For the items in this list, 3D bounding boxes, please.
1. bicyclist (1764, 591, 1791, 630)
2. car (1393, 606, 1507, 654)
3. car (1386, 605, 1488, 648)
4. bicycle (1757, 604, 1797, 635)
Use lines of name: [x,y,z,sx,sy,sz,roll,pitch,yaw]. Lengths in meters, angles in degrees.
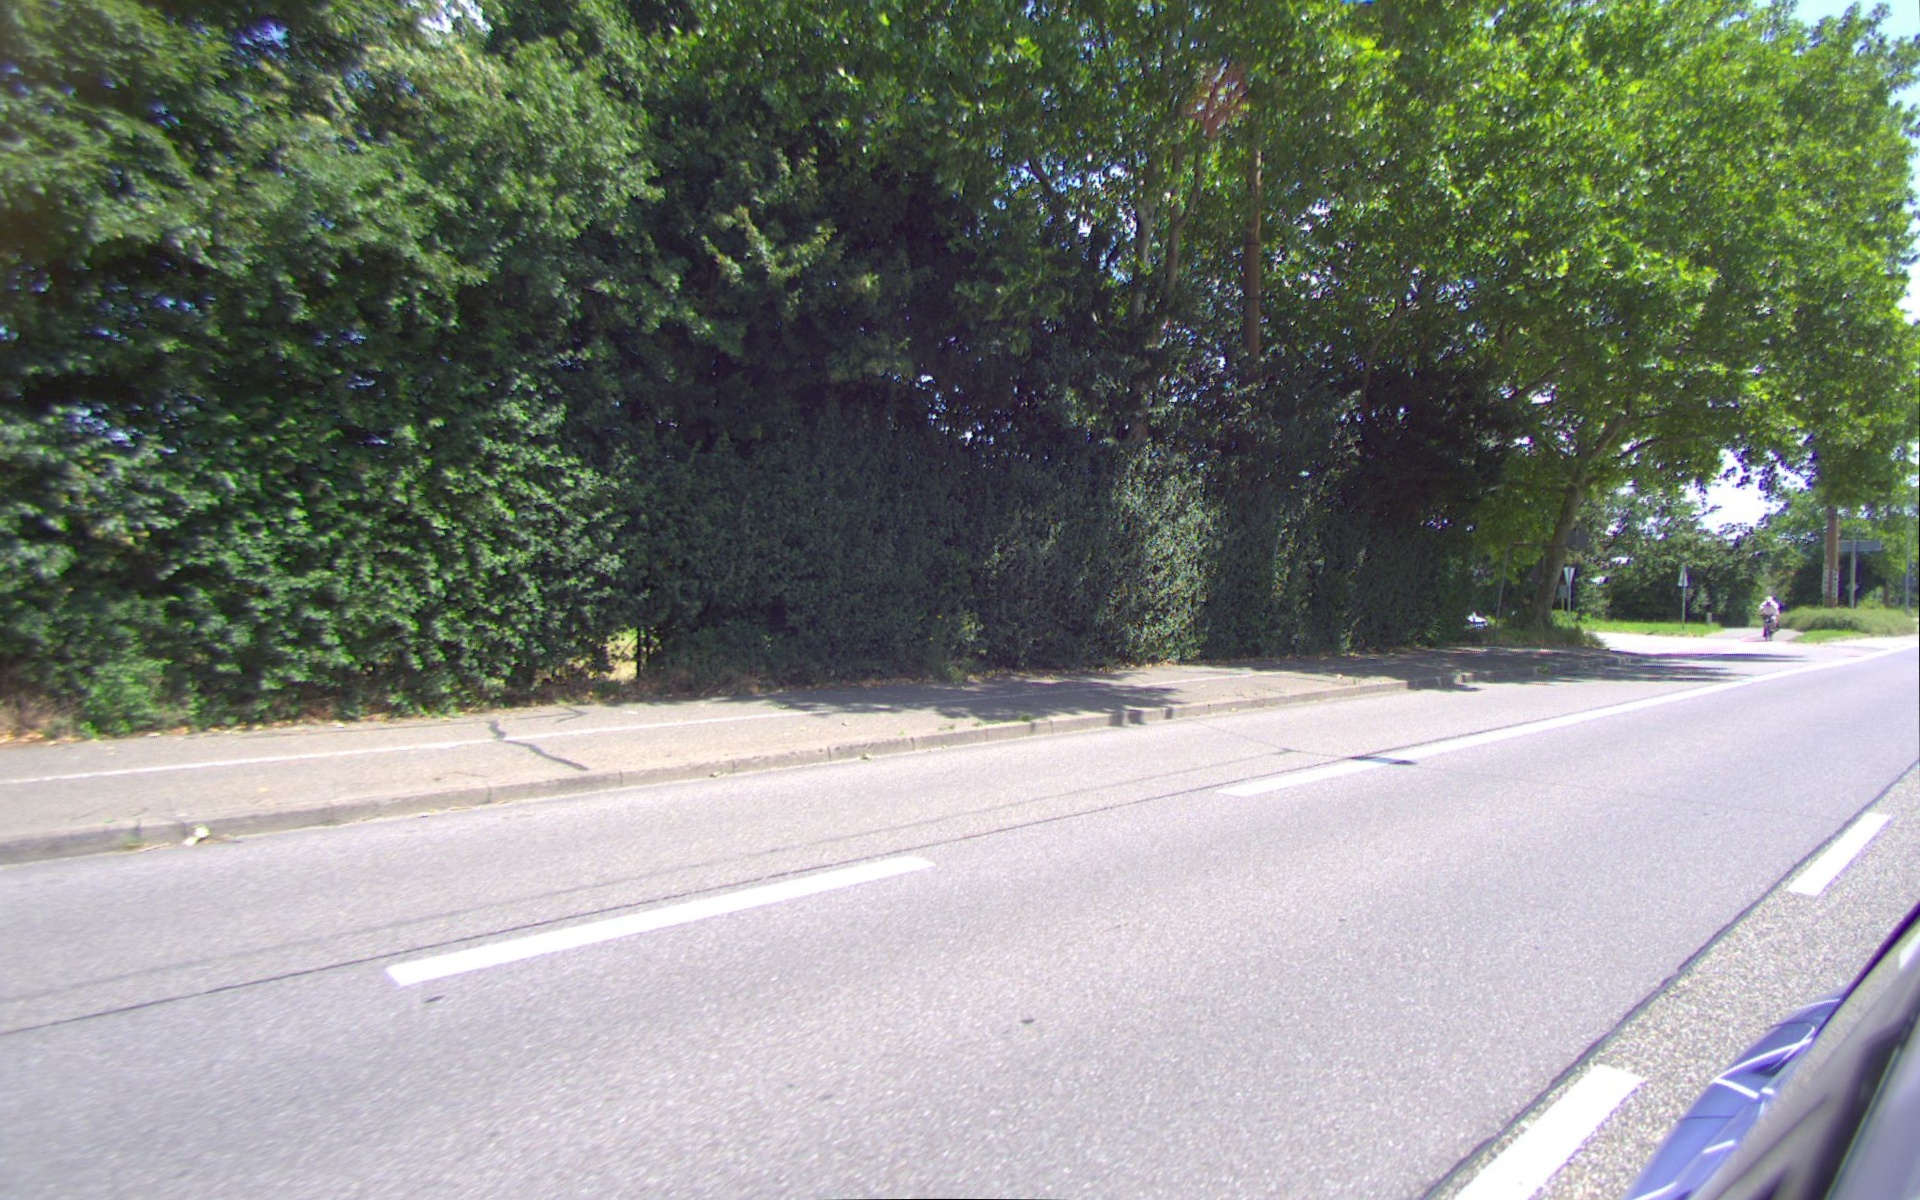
bicyclist: [32.007,0.404,39.627,0.629,1.457,0.704,0,1,-39]
car: [20.775,1.278,42.991,3.916,1.883,2.004,1,1,-13]
car: [22.411,1.225,47.622,3.916,1.883,2.004,1,1,-13]
bicycle: [32.028,0.760,39.664,2.492,1.152,0.710,0,1,-39]
